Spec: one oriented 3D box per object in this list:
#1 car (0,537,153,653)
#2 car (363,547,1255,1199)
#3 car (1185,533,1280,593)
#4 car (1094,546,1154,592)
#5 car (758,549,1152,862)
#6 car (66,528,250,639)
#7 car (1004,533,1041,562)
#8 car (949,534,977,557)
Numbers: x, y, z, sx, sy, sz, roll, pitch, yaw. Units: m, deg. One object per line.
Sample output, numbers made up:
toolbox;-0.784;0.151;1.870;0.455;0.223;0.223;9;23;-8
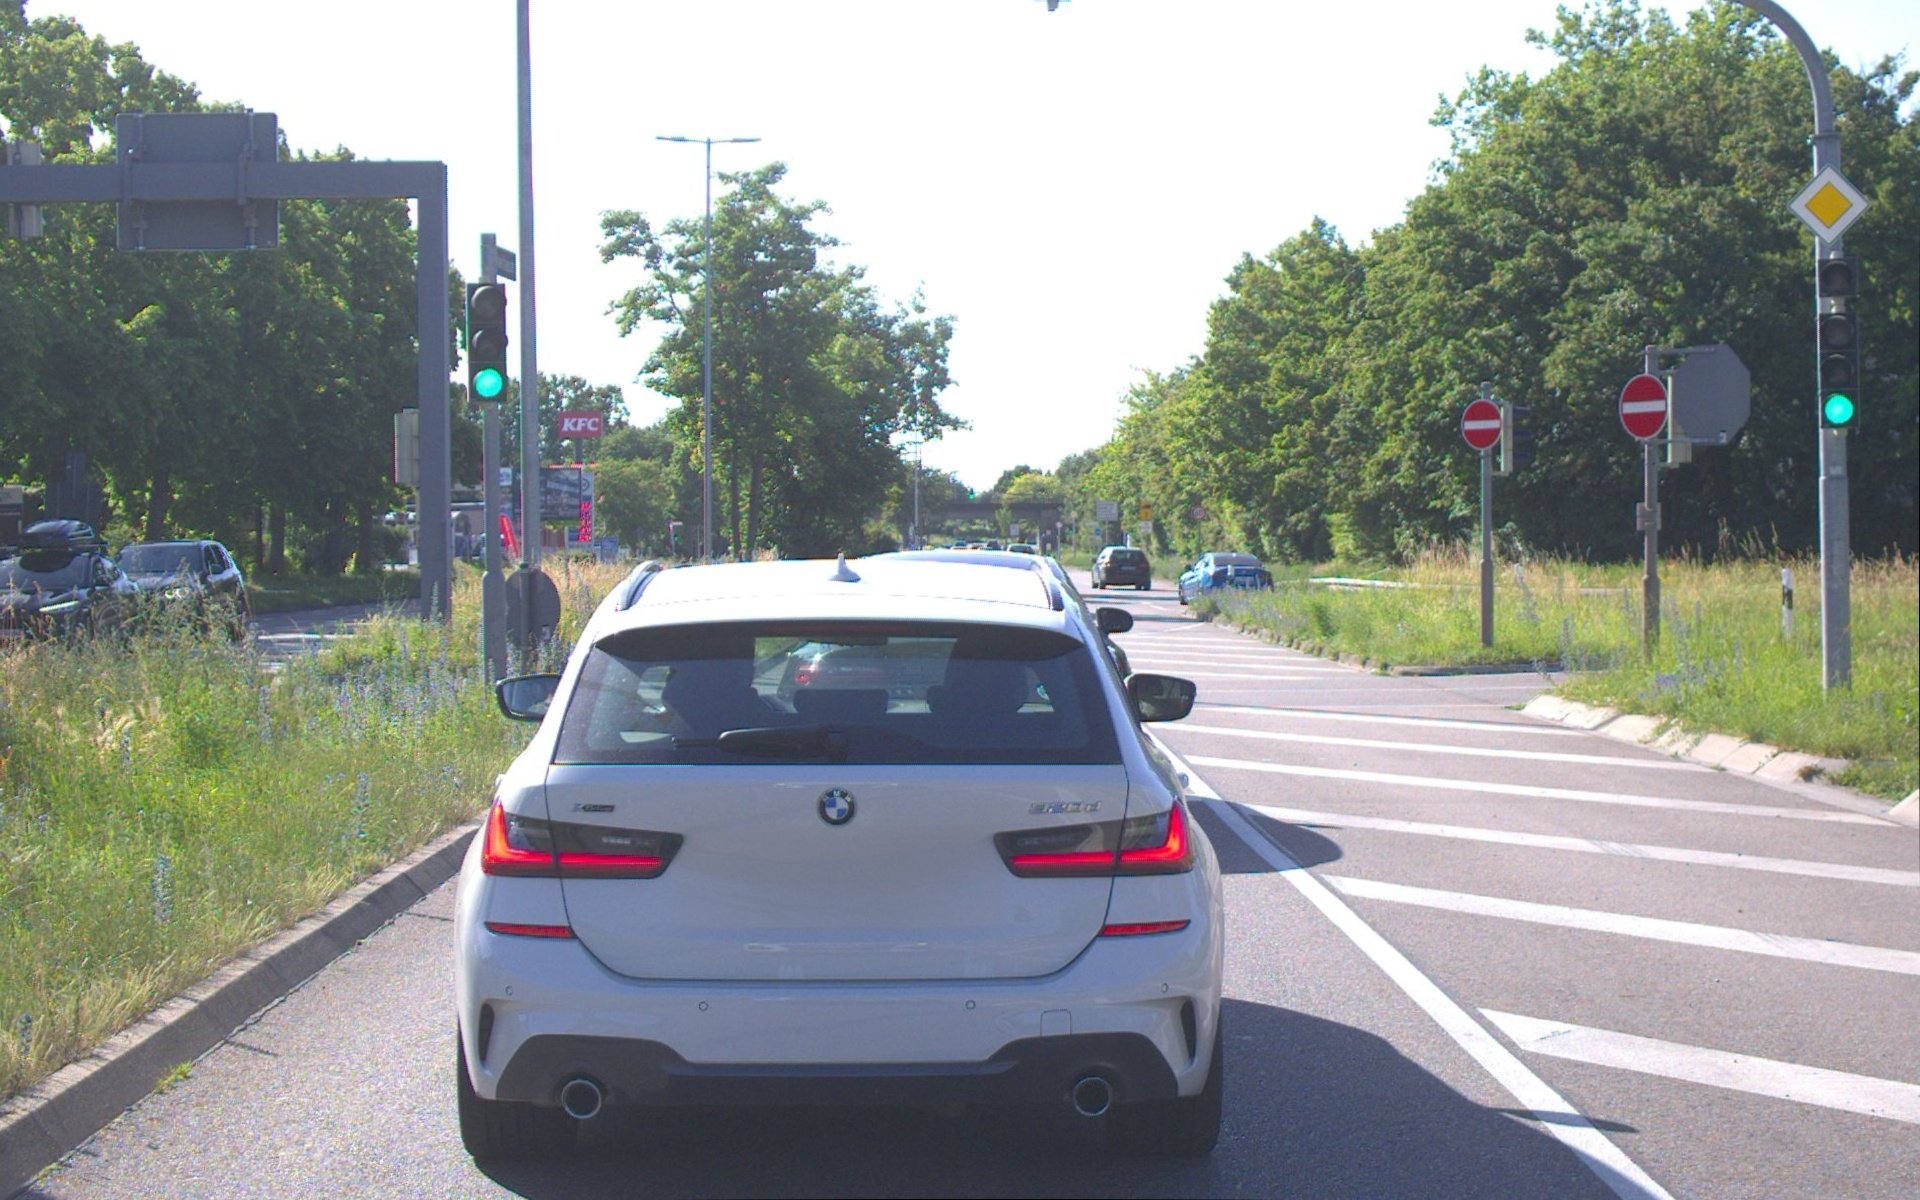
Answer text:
car;-12.920;-0.094;48.626;1.876;1.537;4.573;-2;1;0
car;-0.311;0.602;9.518;1.861;1.450;4.548;-1;1;0
car;6.961;-0.962;88.218;1.861;1.494;4.337;0;1;-3
car;5.682;-1.095;119.613;1.771;1.550;3.833;-1;1;-2
car;-0.042;0.469;18.646;1.861;1.450;4.548;-1;1;0
car;-13.267;-0.306;57.164;1.942;1.691;4.630;-2;1;0
car;3.436;-2.895;189.613;1.861;1.560;4.548;-1;1;0
car;0.215;-3.709;234.476;1.861;1.560;4.548;-1;1;0
